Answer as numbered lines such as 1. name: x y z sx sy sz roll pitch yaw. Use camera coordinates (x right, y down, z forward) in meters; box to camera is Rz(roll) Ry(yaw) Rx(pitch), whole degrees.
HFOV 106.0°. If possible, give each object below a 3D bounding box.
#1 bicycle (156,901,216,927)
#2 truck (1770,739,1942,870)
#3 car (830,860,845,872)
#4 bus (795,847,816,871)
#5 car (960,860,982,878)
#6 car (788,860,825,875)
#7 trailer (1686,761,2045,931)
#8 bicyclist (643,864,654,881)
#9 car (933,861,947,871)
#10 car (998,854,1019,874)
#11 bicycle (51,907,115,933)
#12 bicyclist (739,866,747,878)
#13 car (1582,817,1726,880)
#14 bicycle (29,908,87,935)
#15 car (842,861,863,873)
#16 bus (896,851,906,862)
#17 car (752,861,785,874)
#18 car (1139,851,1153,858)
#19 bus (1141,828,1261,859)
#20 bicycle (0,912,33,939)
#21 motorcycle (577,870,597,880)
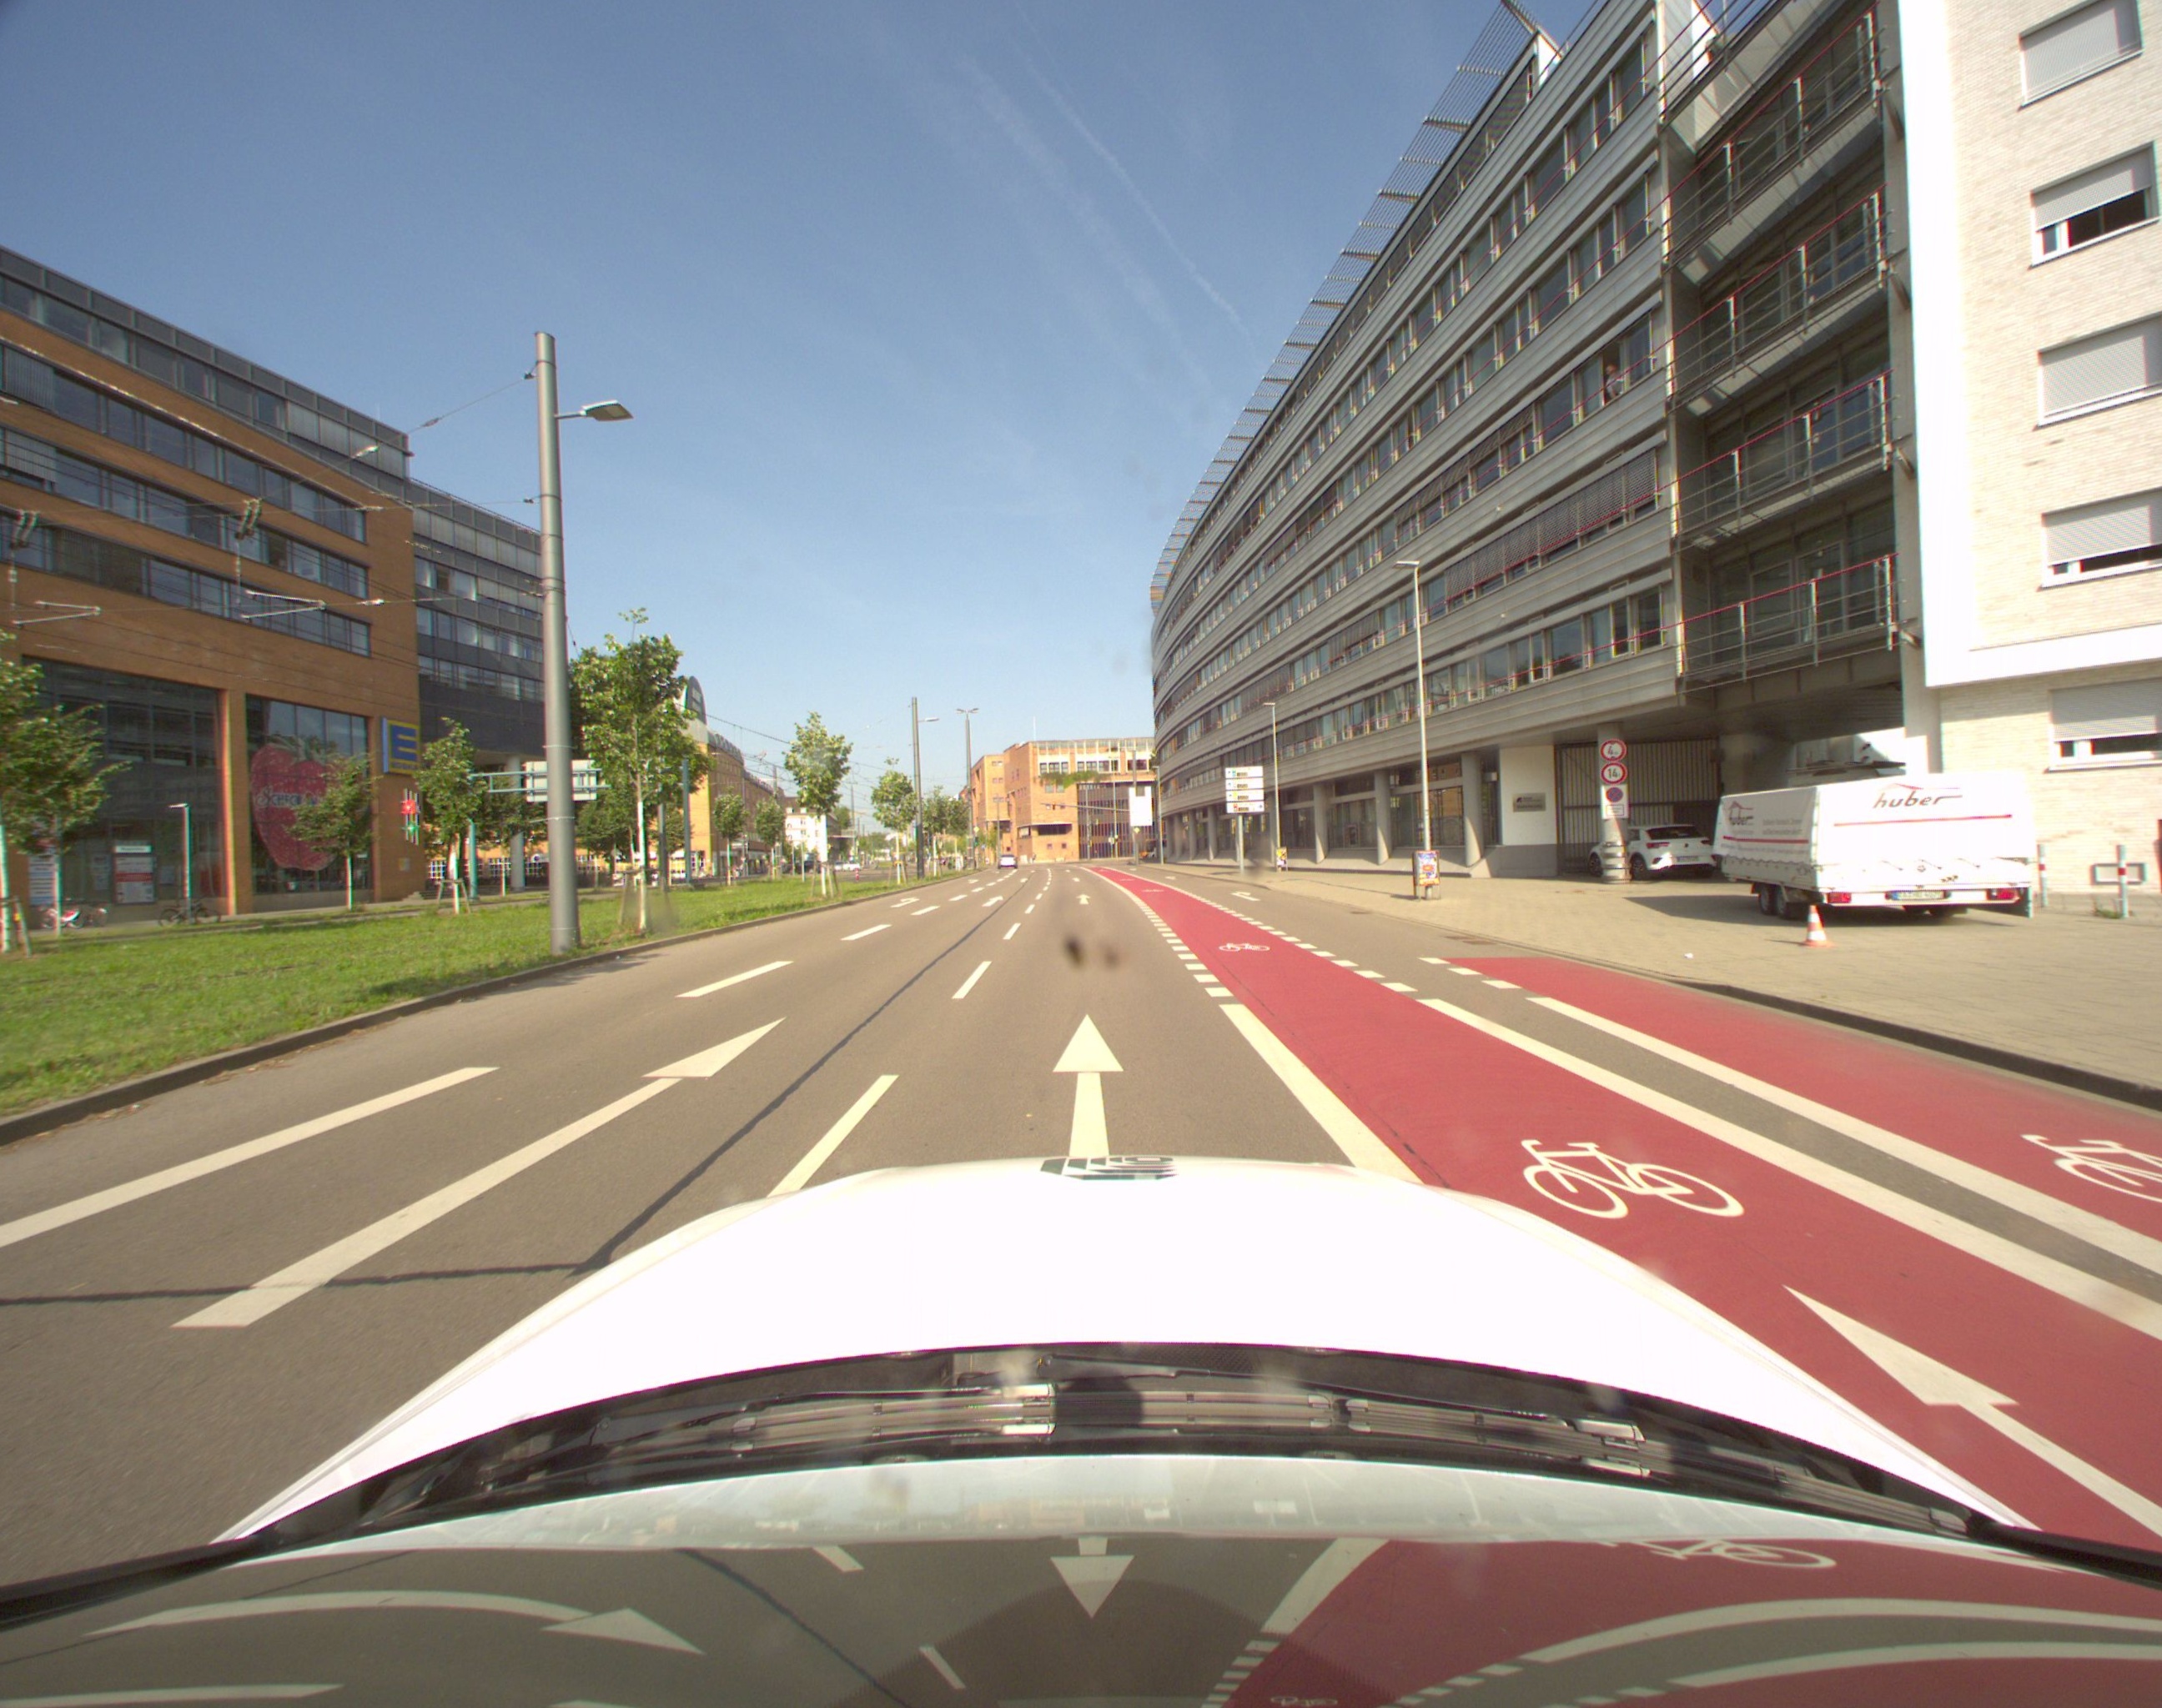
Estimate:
1. bicycle: -33.977 2.270 30.926 1.665 0.907 0.711 -2 -1 9
2. truck: 21.482 -1.430 22.461 6.178 3.096 1.979 -6 1 -34
3. car: -38.004 1.830 127.265 1.685 1.634 4.375 -3 2 -11
4. bus: -49.084 0.896 145.255 2.752 3.921 12.152 -2 0 -15
5. car: -12.769 1.783 94.744 1.988 2.014 4.238 -2 -1 -2
6. car: -35.261 1.765 104.502 3.969 1.678 2.002 -3 -2 4
7. trailer: 12.301 -0.124 13.505 2.367 2.151 5.984 -2 0 24
8. bicyclist: -46.078 1.972 86.796 0.955 1.747 0.671 -4 -2 38
9. car: -29.034 2.462 167.564 2.002 2.014 3.970 -2 -2 -22
10. car: -6.864 0.941 76.904 1.704 1.755 3.879 -2 -1 -8
11. bicycle: -39.021 2.593 31.855 2.036 0.921 0.575 -2 0 8
12. bicyclist: -50.480 2.661 121.671 0.989 1.695 0.666 -2 -2 -18
13. car: 16.304 -0.187 23.439 1.734 1.589 4.009 -2 1 8
14. bicycle: -39.088 2.578 31.120 2.036 0.921 0.381 -2 0 8
15. car: -32.480 1.921 115.618 1.743 1.542 3.410 -1 -2 -35
16. bus: -37.712 0.566 170.855 1.996 2.014 3.981 -2 -2 -14
17. car: -42.292 1.801 110.299 3.596 1.624 1.869 -2 0 3
18. car: 9.383 0.025 117.887 1.948 0.958 1.092 0 -3 -5
19. bus: 17.878 -1.544 121.840 17.572 3.810 2.861 -2 -2 -4
20. bicycle: -39.178 2.614 29.475 2.036 0.921 0.575 -2 0 8
21. motorcycle: -49.783 2.116 82.091 1.690 0.995 0.283 -3 2 -11
